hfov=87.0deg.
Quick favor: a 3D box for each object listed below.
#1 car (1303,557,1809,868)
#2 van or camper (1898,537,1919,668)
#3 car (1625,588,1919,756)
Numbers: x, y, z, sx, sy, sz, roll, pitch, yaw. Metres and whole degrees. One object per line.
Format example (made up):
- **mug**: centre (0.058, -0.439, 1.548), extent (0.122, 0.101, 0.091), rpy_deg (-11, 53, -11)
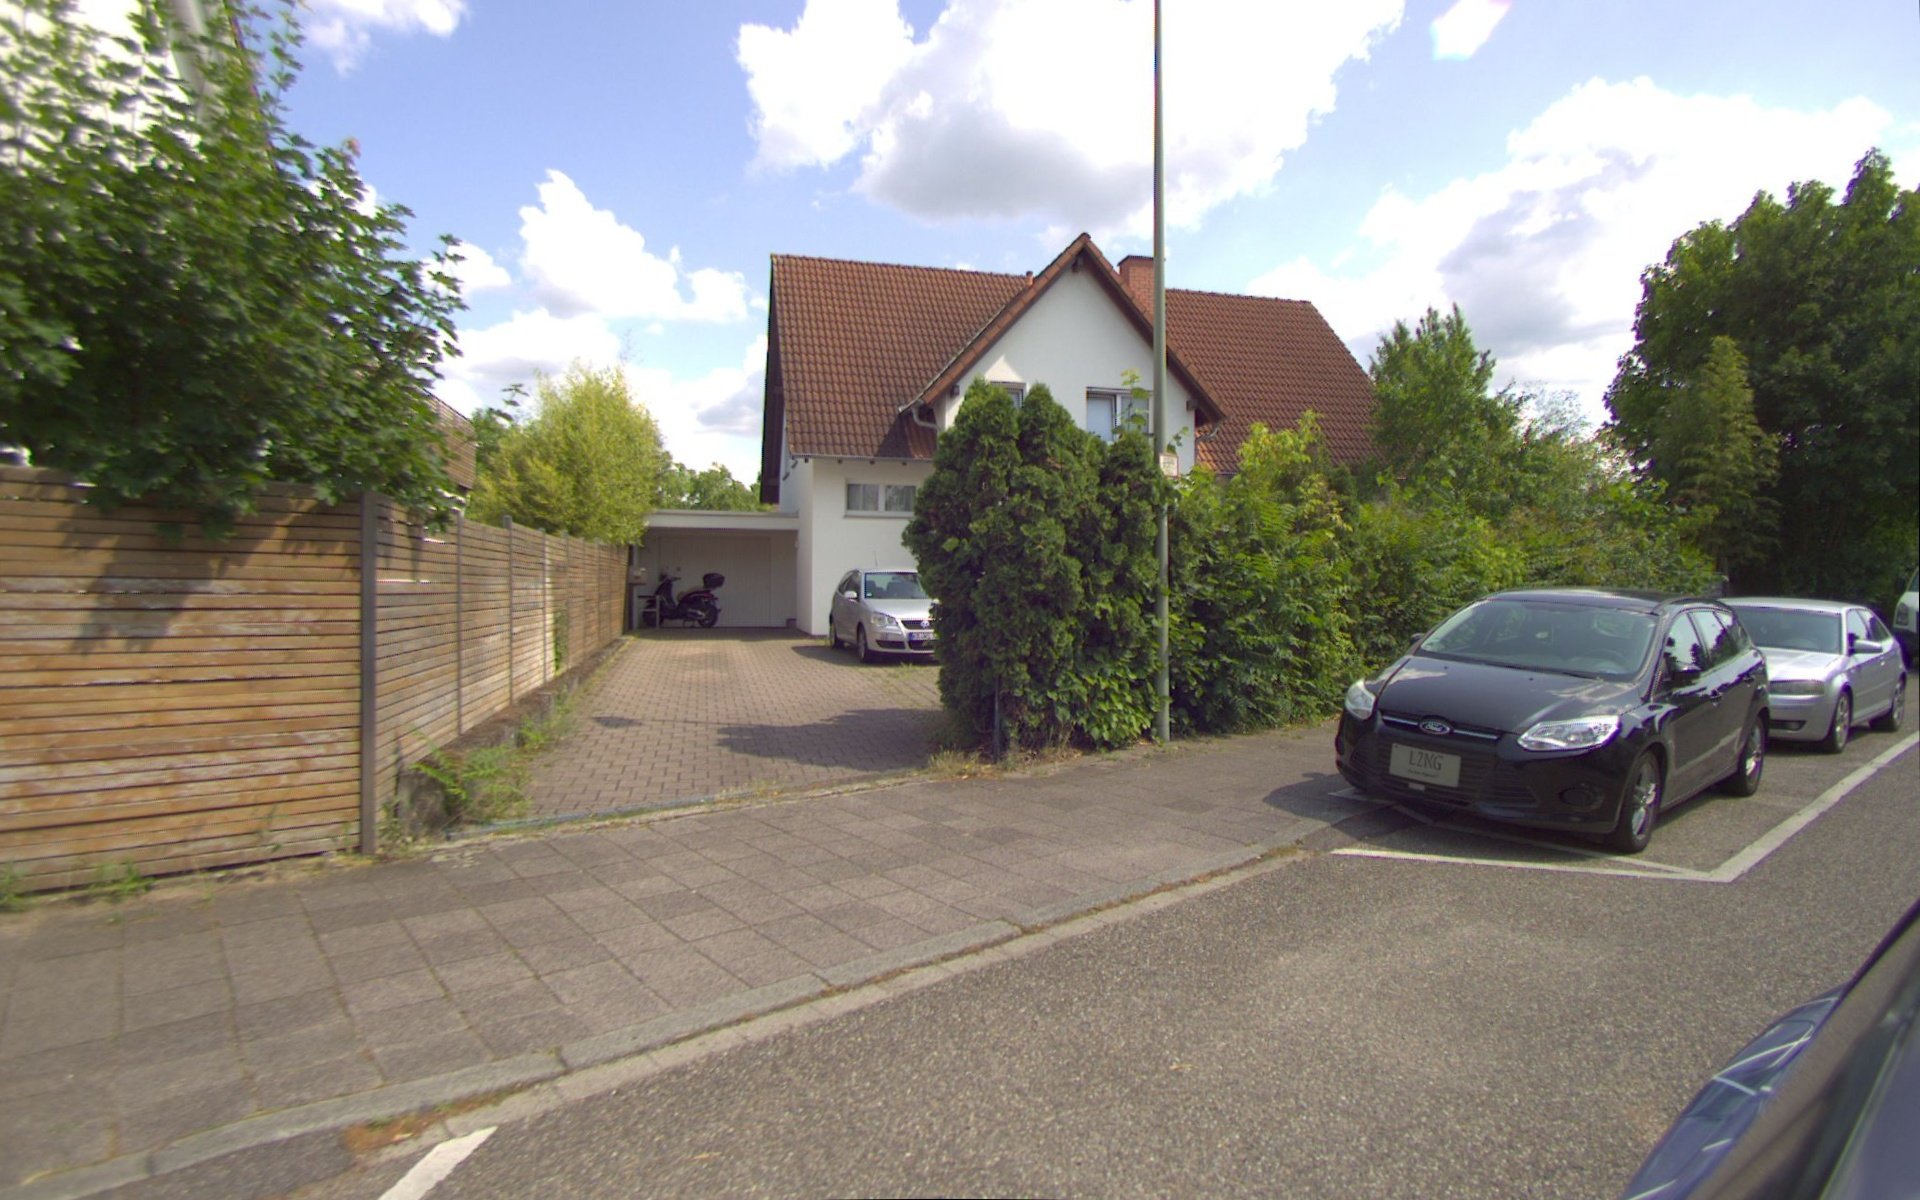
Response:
- **car**: centre (4.364, 0.542, 7.123), extent (4.220, 1.523, 1.731), rpy_deg (0, 3, -40)
- **van or camper**: centre (20.290, 0.067, 19.507), extent (5.647, 2.389, 1.975), rpy_deg (0, 1, -34)
- **car**: centre (8.789, 0.624, 10.743), extent (3.987, 1.455, 1.685), rpy_deg (0, 1, -38)
